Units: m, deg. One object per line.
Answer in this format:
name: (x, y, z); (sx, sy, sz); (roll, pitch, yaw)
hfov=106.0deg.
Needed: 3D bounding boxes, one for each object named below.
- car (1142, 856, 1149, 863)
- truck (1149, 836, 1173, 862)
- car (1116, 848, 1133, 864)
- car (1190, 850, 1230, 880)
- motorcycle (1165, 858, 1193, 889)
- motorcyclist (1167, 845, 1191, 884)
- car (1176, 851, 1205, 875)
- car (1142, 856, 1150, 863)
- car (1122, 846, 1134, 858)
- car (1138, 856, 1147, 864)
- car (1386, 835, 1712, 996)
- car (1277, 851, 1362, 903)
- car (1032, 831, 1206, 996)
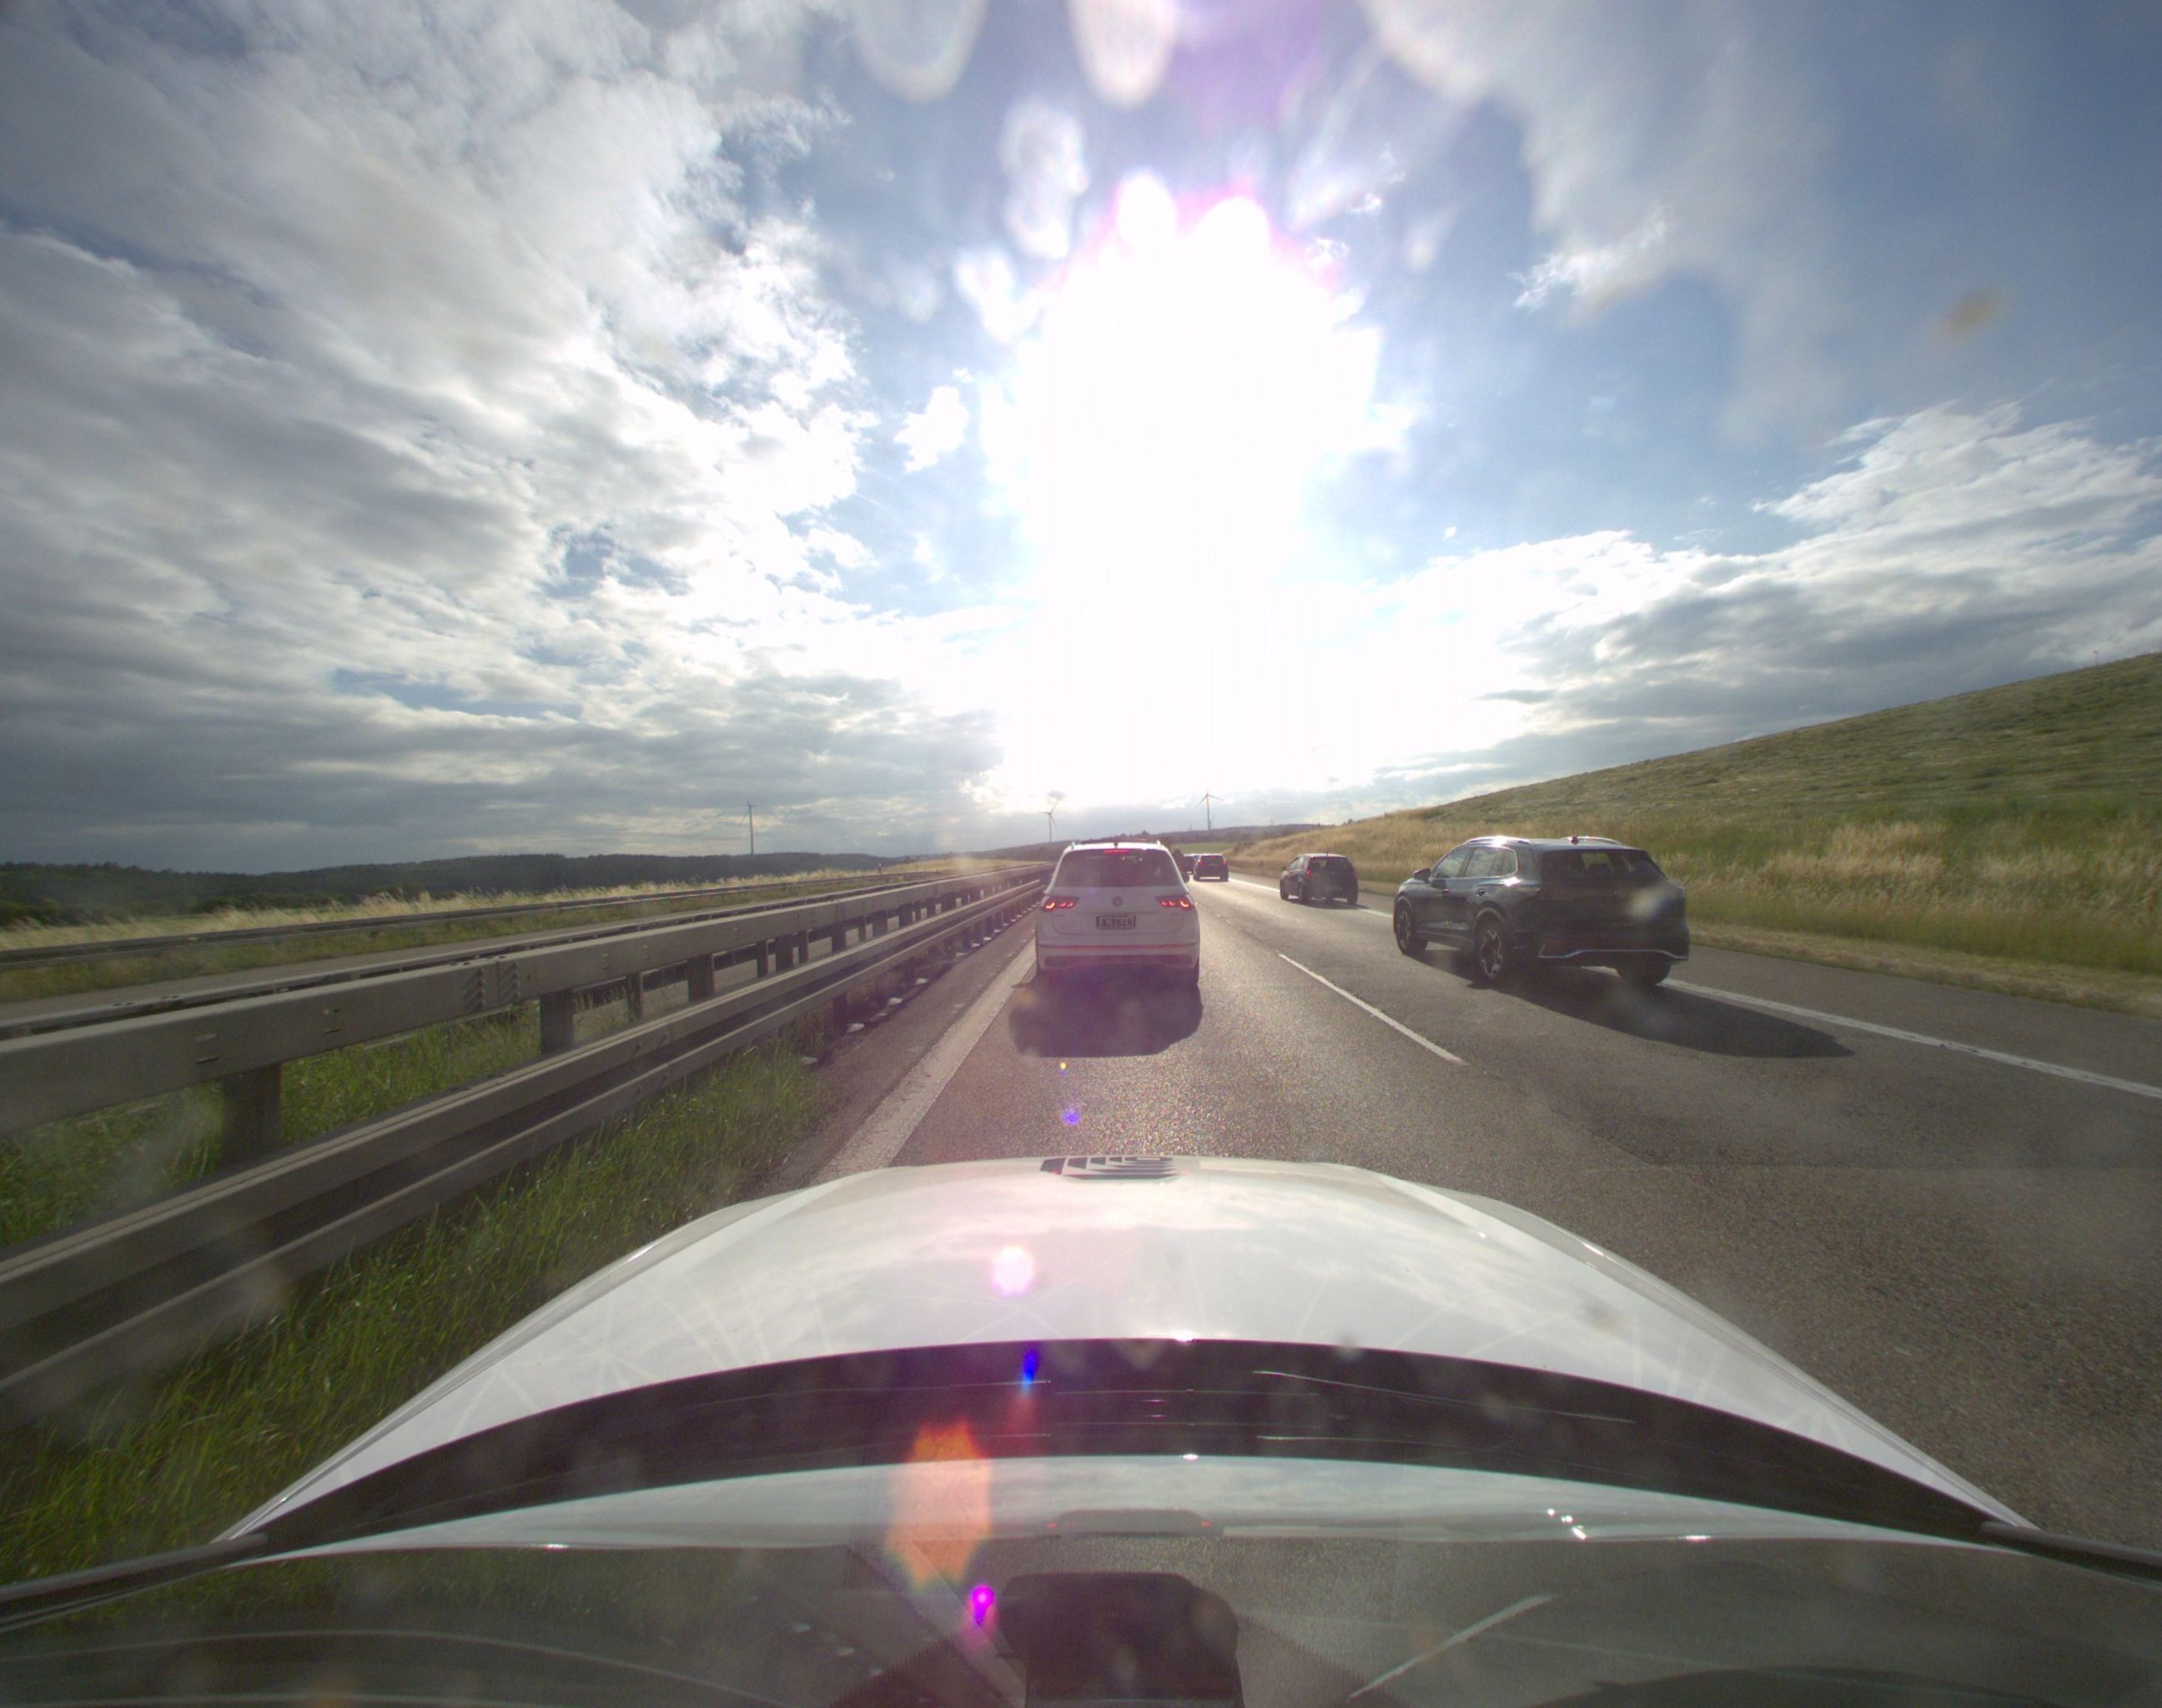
car: (15.919, 1.411, 200.974); (1.697, 1.546, 4.002); (-1, 0, 2)
truck: (11.572, -0.720, 118.433); (3.170, 3.593, 11.142); (-1, 0, 4)
car: (4.664, 0.260, 88.303); (1.697, 1.650, 4.002); (-1, 0, 2)
car: (7.081, 0.591, 45.075); (1.697, 1.546, 4.002); (-1, 0, 2)
motorcycle: (3.983, 0.775, 33.240); (0.892, 1.190, 2.257); (-1, 0, 1)
motorcyclist: (3.976, 0.428, 33.159); (0.846, 1.560, 0.934); (-1, -1, 1)
car: (8.064, 0.673, 60.076); (1.697, 1.650, 4.002); (-1, 0, 2)
car: (15.522, 1.380, 194.575); (1.697, 1.546, 4.002); (-1, 0, 2)
car: (6.772, -0.276, 118.216); (1.697, 1.546, 4.002); (-1, 0, 2)
car: (12.395, 1.259, 163.828); (1.697, 1.546, 4.002); (-1, 0, 2)
car: (5.487, 0.624, 10.295); (1.814, 1.601, 4.236); (0, 0, 2)
car: (7.071, 0.647, 24.449); (1.599, 1.420, 3.674); (-1, 0, 2)
car: (0.458, 0.624, 10.392); (1.763, 1.675, 4.002); (-1, 0, 2)
